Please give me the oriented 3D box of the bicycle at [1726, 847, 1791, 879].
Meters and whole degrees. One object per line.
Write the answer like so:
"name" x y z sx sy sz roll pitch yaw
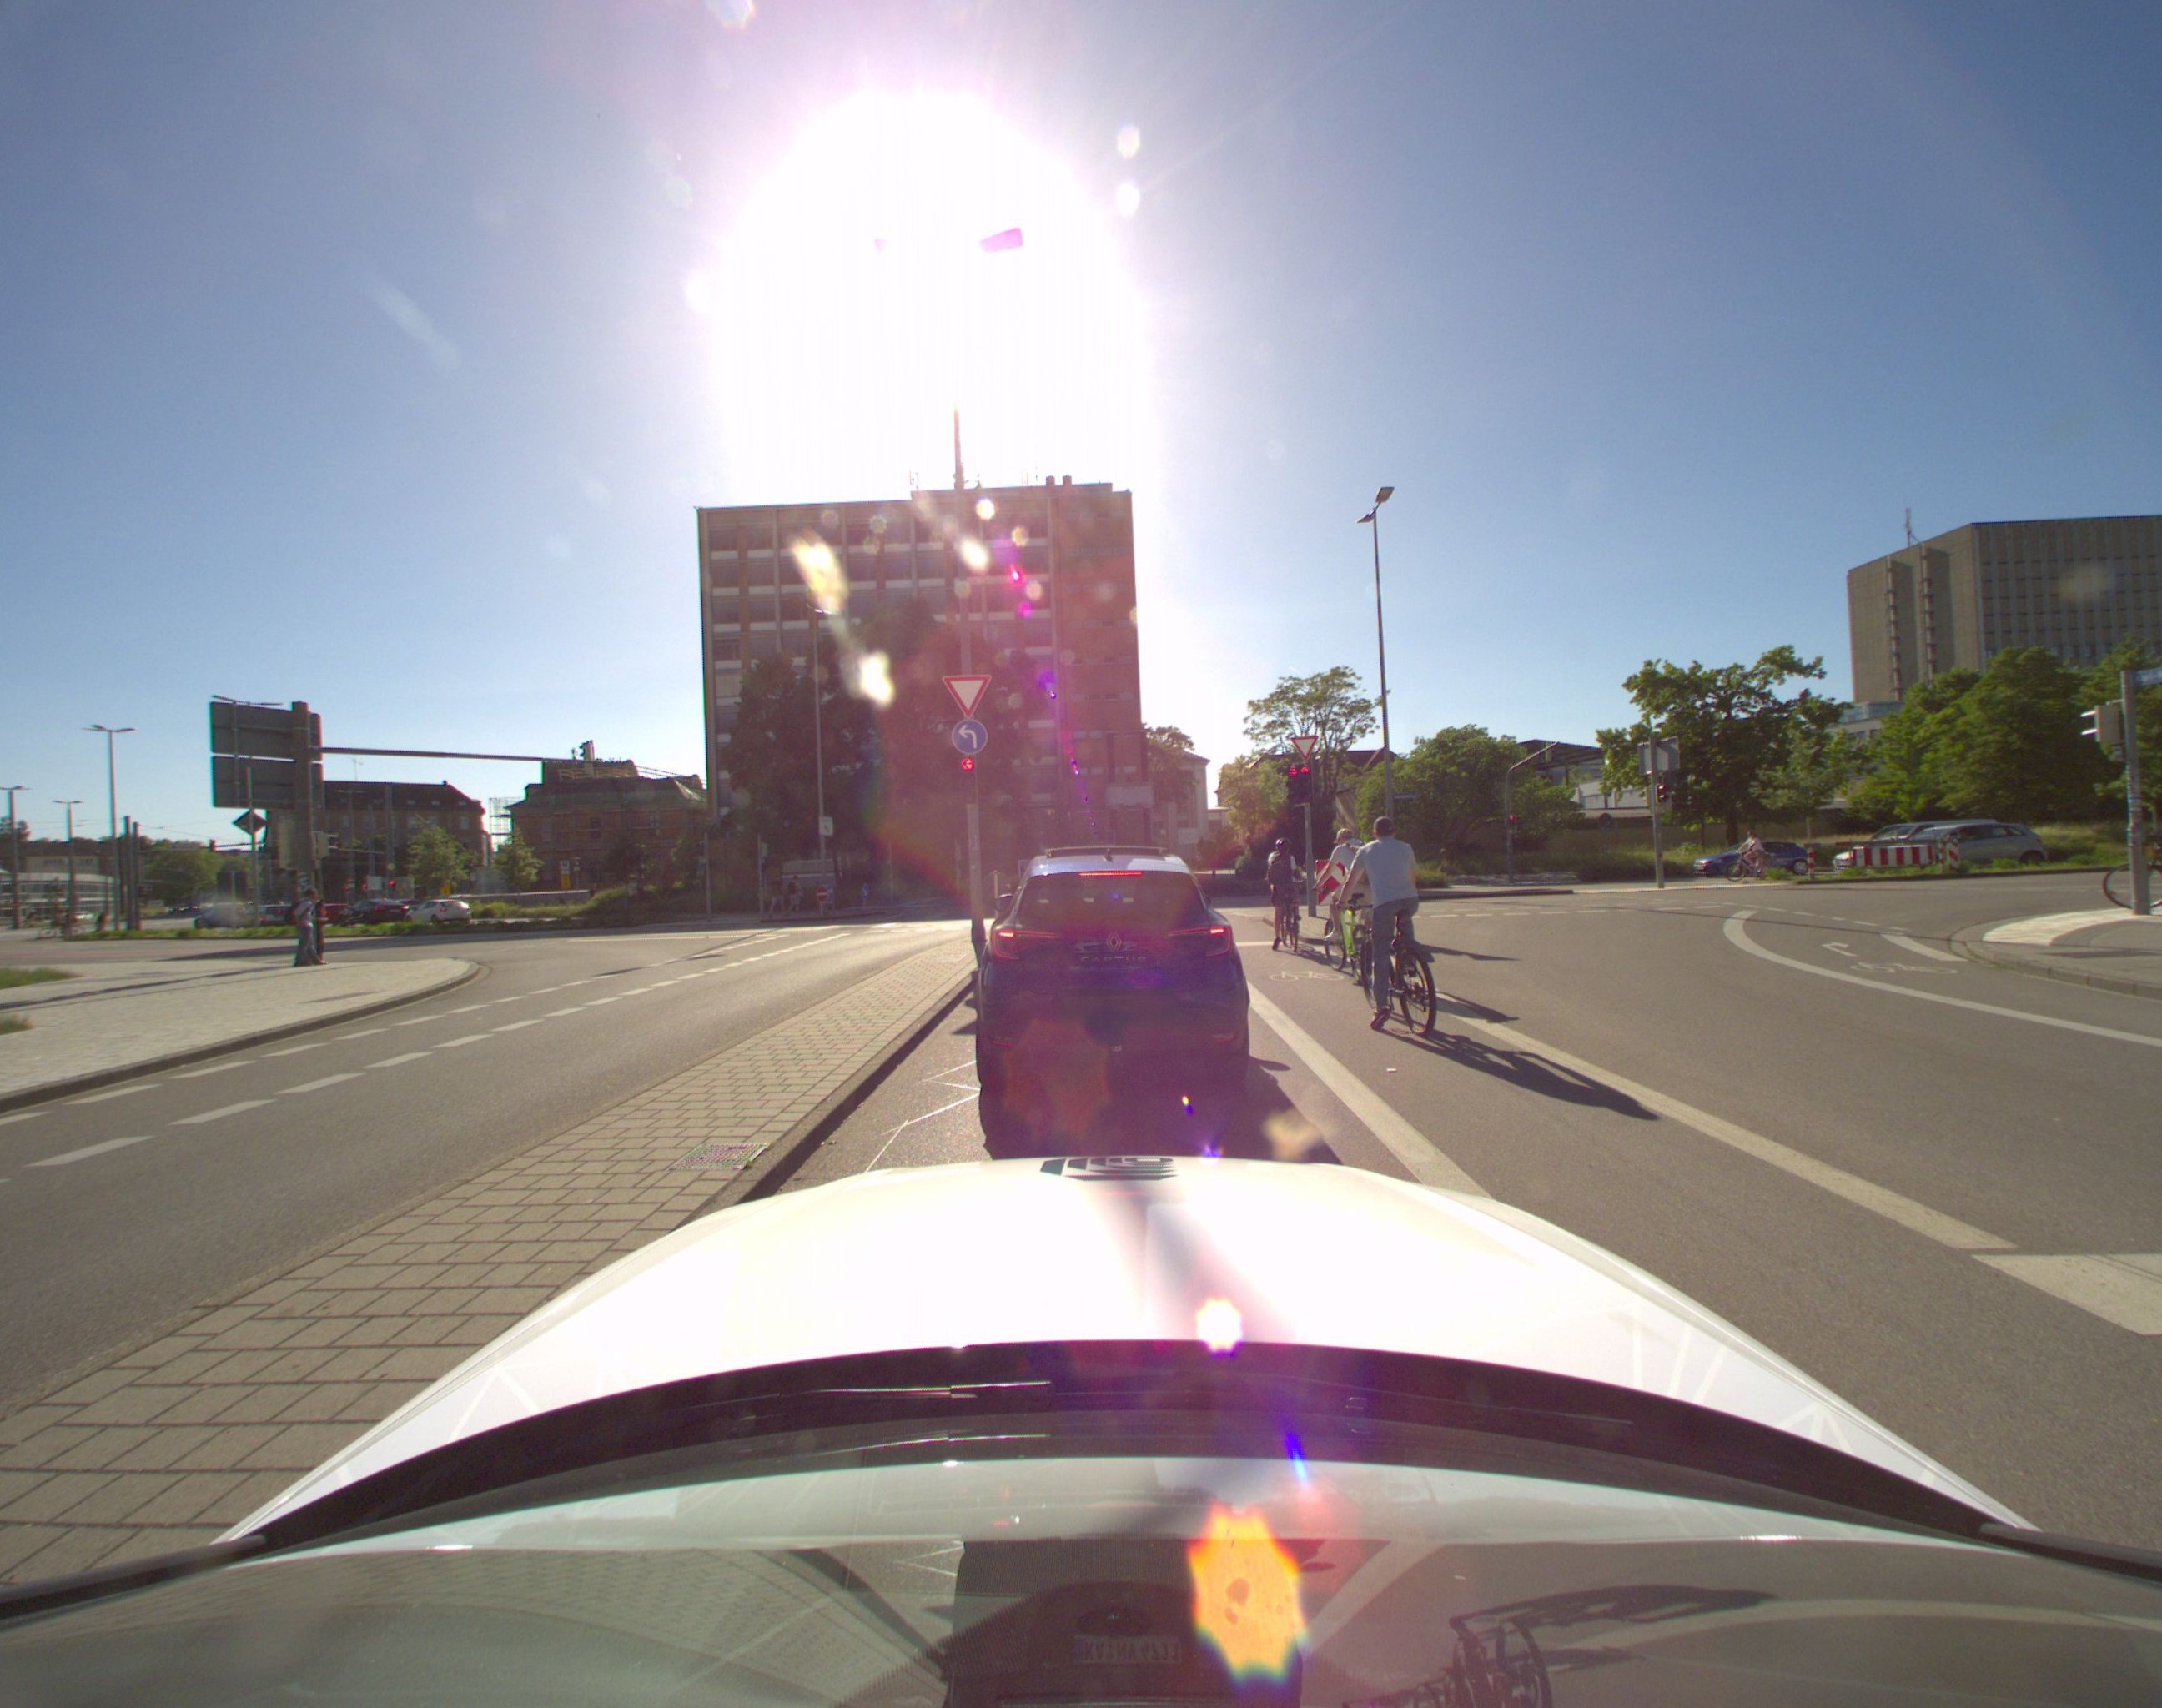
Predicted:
"bicycle" 24.144 0.321 29.038 1.673 1.033 0.612 -2 -1 7

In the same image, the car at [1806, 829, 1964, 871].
"car" 30.301 -0.137 30.795 3.965 1.398 1.798 -3 -1 7

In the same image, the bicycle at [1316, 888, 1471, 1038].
"bicycle" 2.729 0.899 7.354 0.687 1.089 1.923 -1 0 2

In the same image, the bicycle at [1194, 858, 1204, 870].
"bicycle" 11.642 1.002 80.307 0.692 1.140 2.441 -2 0 1

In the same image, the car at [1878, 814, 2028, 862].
"car" 35.875 -0.619 33.610 3.965 1.749 1.798 -3 -1 7

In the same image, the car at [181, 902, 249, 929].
"car" -54.908 3.892 51.641 3.834 1.508 1.805 -3 -1 25

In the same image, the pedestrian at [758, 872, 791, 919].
"pedestrian" -12.679 1.711 33.694 0.807 1.862 0.913 -3 -1 15

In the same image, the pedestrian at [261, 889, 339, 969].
"pedestrian" -17.872 1.702 18.658 0.647 1.730 1.066 -3 -1 15

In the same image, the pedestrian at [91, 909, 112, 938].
"pedestrian" -63.055 4.481 52.424 0.696 1.762 0.782 -3 -1 37

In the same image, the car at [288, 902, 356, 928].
"car" -48.202 3.870 51.713 3.834 1.508 1.805 -3 -1 25

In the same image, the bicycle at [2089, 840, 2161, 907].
"bicycle" 15.919 0.268 11.629 0.640 0.958 1.866 -2 -1 -39

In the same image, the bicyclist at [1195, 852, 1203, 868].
"bicyclist" 11.619 0.573 80.088 0.692 1.481 0.717 -2 -1 1

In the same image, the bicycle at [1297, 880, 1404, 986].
"bicycle" 3.194 0.890 9.844 0.687 1.089 1.923 -1 0 2

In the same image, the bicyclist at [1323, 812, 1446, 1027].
"bicyclist" 2.725 0.553 7.424 0.680 1.791 1.142 -1 -1 2

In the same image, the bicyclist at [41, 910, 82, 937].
"bicyclist" -65.805 4.459 52.564 0.800 1.634 1.585 -1 -1 43

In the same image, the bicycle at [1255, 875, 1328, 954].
"bicycle" 3.274 0.911 12.834 0.687 1.089 1.923 -1 0 2

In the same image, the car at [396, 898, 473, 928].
"car" -36.390 3.336 45.839 3.834 1.508 1.805 -3 -1 25

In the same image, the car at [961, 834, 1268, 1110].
"car" 0.202 0.705 6.770 1.783 1.585 3.913 -1 0 0

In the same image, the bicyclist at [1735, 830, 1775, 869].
"bicyclist" 24.040 -0.161 29.054 0.870 1.343 0.612 -2 -1 7

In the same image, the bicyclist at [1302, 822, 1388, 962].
"bicyclist" 3.184 0.438 9.920 0.676 1.594 1.142 -1 -1 2

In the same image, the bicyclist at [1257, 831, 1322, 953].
"bicyclist" 3.212 0.559 12.629 0.697 1.791 1.142 -1 -1 2

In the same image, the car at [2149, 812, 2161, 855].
"car" 36.906 -0.764 25.333 4.534 1.398 1.798 -3 -1 7

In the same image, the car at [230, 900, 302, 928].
"car" -48.859 3.605 48.809 3.834 1.508 1.805 -3 -1 25

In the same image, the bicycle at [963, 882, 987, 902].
"bicycle" -5.722 2.043 44.175 0.751 0.985 2.098 -2 0 8

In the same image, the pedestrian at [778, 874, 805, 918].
"pedestrian" -11.827 1.699 33.267 0.675 1.730 0.764 -3 -1 15

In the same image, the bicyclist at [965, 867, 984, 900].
"bicyclist" -5.757 1.570 44.075 0.751 1.716 1.001 -2 -1 7

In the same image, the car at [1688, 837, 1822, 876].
"car" 28.140 0.104 34.109 3.965 1.398 1.798 -3 -1 7

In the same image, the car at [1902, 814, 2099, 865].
"car" 29.225 -0.435 26.004 3.965 1.398 1.798 -3 -1 7

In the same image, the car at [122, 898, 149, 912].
"car" -153.704 8.292 132.398 2.008 2.014 3.956 0 -1 -35

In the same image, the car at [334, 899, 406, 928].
"car" -42.545 3.564 48.744 3.834 1.508 1.805 -3 -1 25

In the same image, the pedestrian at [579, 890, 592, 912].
"pedestrian" -41.363 3.918 67.995 0.680 1.730 0.759 -2 -1 -7

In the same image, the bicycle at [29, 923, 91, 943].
"bicycle" -65.818 5.085 52.529 0.800 1.062 2.433 -1 -1 44
